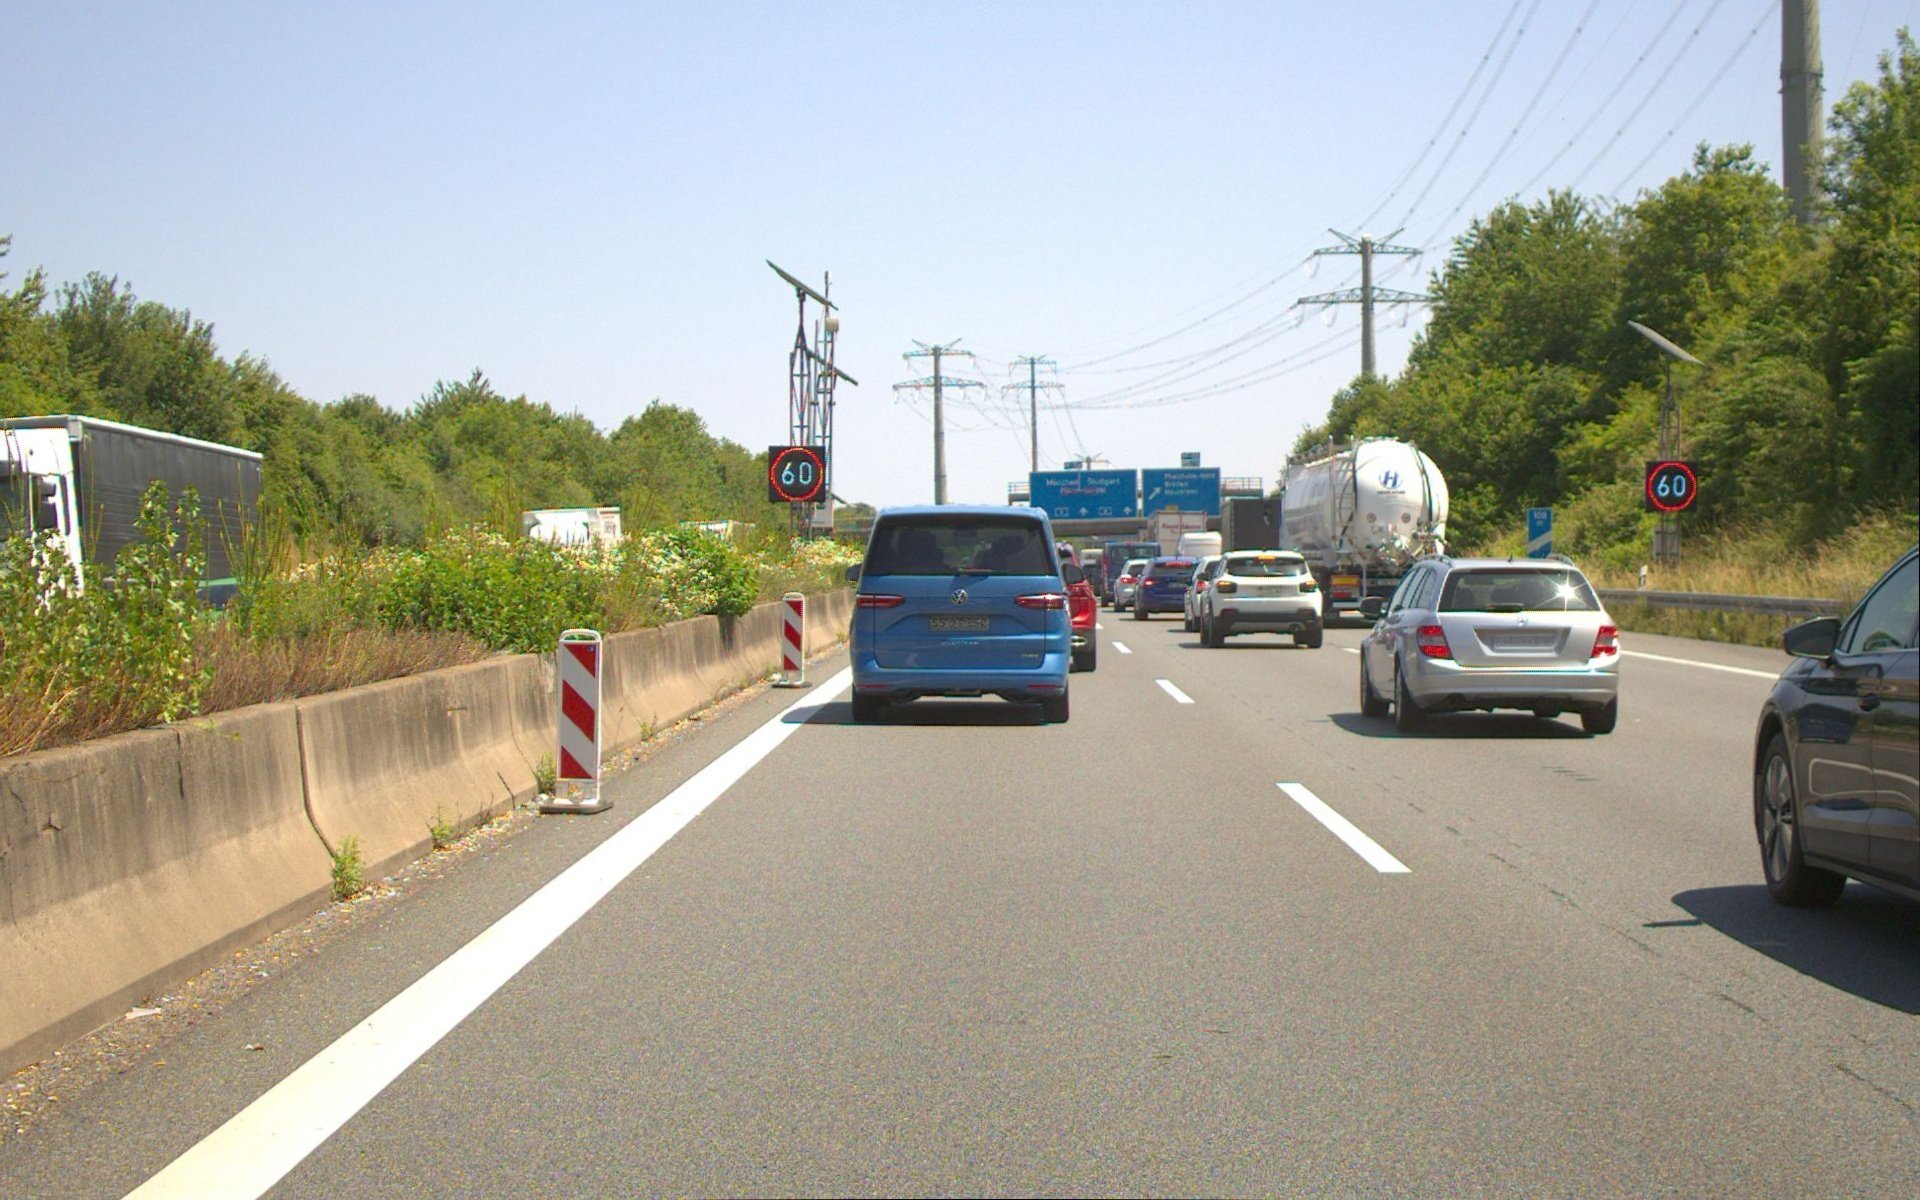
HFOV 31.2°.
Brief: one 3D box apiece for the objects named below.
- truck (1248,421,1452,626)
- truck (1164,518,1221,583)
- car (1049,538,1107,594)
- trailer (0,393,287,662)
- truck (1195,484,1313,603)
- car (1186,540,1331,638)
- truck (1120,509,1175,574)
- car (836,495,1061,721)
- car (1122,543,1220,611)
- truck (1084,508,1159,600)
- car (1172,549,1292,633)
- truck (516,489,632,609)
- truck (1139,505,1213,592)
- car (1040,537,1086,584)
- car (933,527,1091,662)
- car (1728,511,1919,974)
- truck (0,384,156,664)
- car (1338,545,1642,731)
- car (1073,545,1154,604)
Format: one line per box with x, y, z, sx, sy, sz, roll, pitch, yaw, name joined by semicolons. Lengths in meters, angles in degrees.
8.479;-1.642;76.926;2.644;4.058;16.441;1;1;0;truck
9.861;-2.101;145.891;1.993;2.714;5.680;1;1;0;truck
4.370;-1.265;127.909;1.993;2.007;4.000;1;1;0;car
-14.994;-1.218;61.497;2.753;4.152;14.197;-4;1;1;trailer
9.295;-1.795;109.916;2.644;3.526;12.552;1;1;0;truck
4.759;-0.195;55.323;1.908;1.503;3.922;1;1;-1;car
12.725;-3.979;234.119;2.938;4.276;12.552;1;1;0;truck
-0.141;0.033;31.073;1.871;1.872;4.384;1;1;-1;car
4.866;-0.547;79.664;1.908;1.511;4.384;1;1;-1;car
4.897;-1.398;104.994;1.993;2.714;5.680;1;1;0;truck
5.268;-0.206;67.008;1.908;1.564;4.384;1;1;-1;car
-13.447;-1.786;120.564;2.762;3.875;9.030;-4;1;0;truck
11.015;-2.638;176.341;2.938;4.276;12.552;1;1;0;truck
4.546;-1.739;151.952;1.993;2.007;4.000;1;1;1;car
0.620;-0.095;43.769;1.908;1.625;4.384;0;1;0;car
4.252;0.485;12.703;1.828;1.609;4.431;0;1;0;car
-15.050;-1.122;54.608;2.751;4.152;6.411;-4;1;1;truck
4.394;0.263;29.126;1.821;1.432;4.384;1;1;-1;car
4.126;-0.702;92.853;1.908;1.511;4.384;1;1;-1;car
